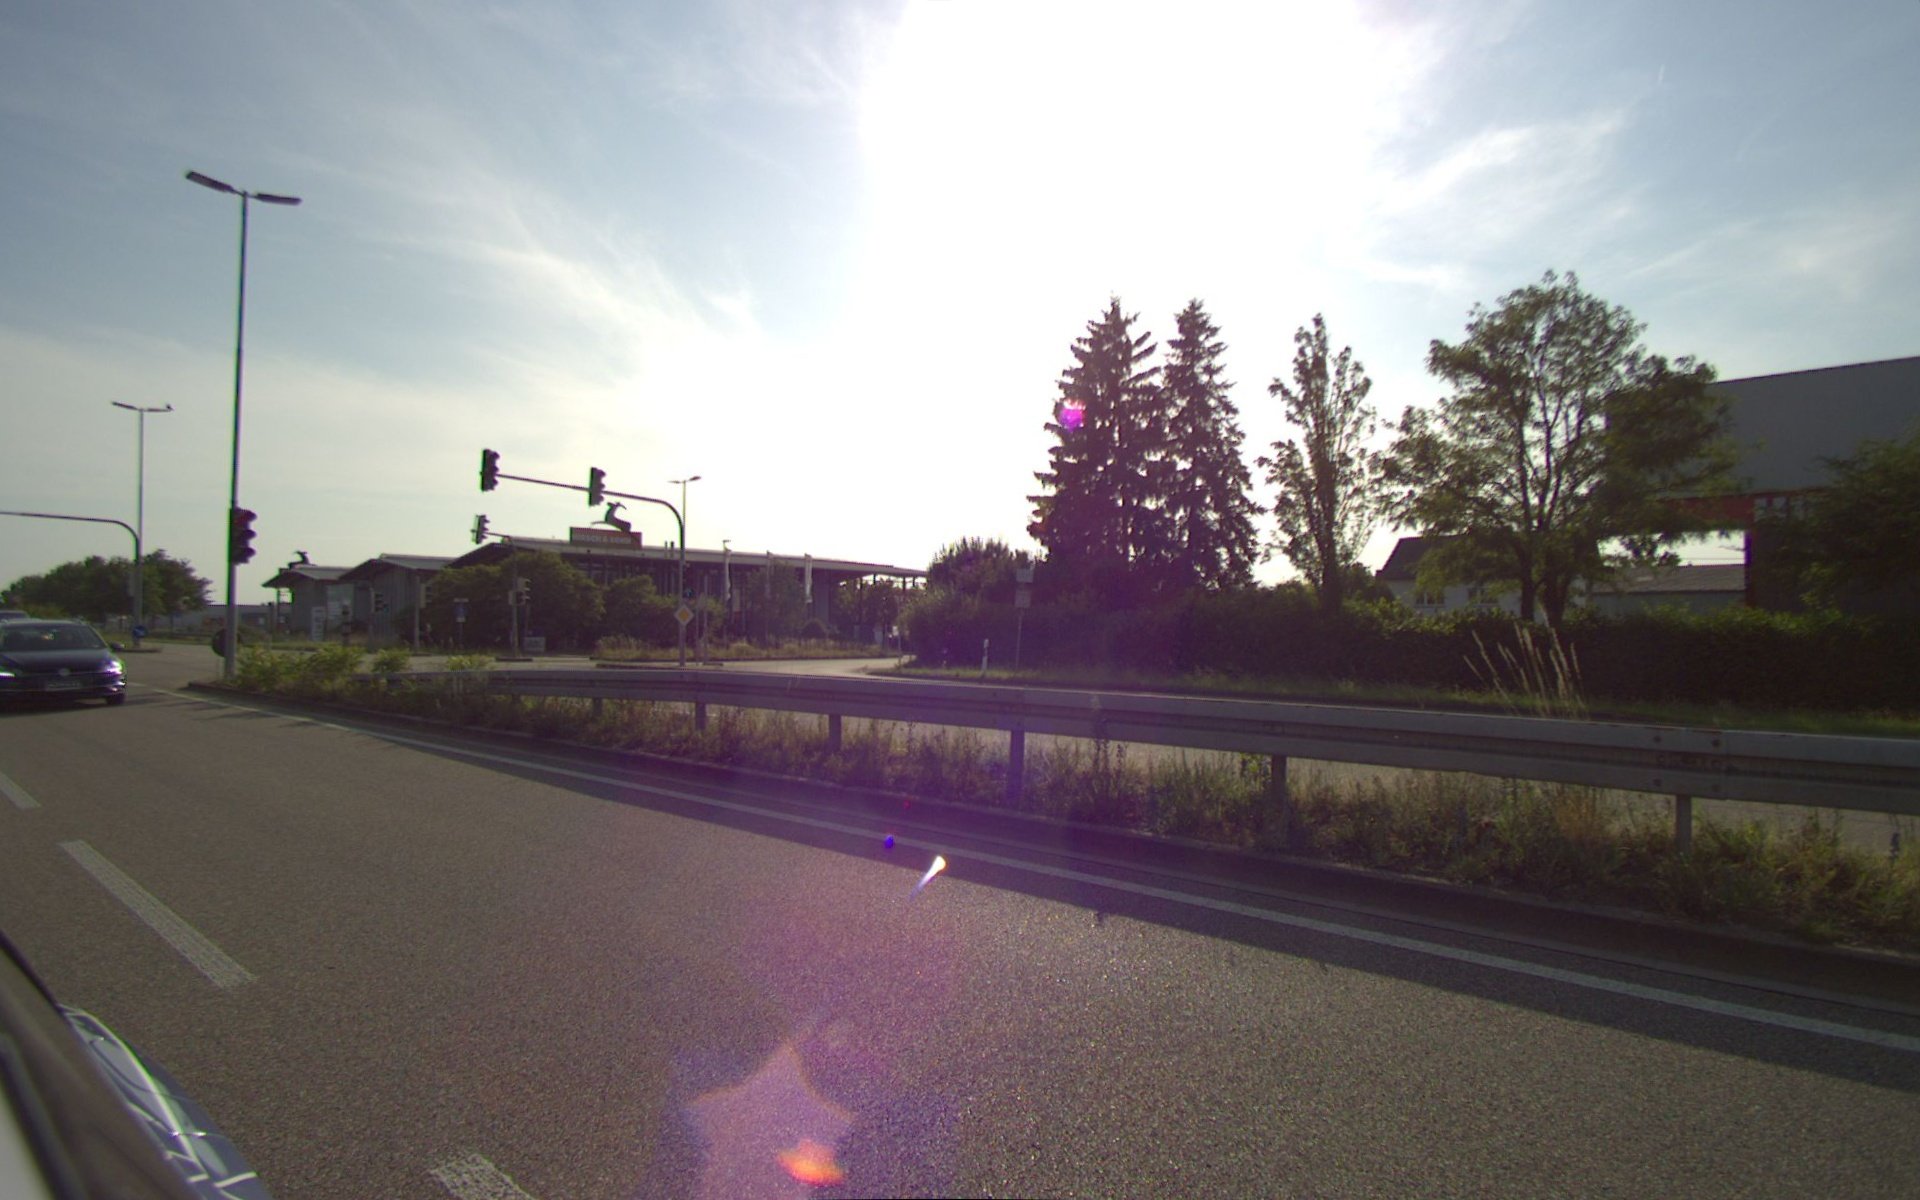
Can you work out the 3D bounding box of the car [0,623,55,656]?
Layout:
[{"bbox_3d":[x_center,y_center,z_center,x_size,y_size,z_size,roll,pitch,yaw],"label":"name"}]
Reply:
[{"bbox_3d":[-43.347,1.805,46.885,3.563,1.448,1.689,-2,-1,41],"label":"car"}]

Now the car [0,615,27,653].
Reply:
[{"bbox_3d":[-48.171,1.717,50.713,4.223,1.848,1.629,-2,-1,41],"label":"car"}]

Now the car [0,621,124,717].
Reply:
[{"bbox_3d":[-16.237,1.124,17.783,4.774,1.482,1.629,-1,-2,41],"label":"car"}]
